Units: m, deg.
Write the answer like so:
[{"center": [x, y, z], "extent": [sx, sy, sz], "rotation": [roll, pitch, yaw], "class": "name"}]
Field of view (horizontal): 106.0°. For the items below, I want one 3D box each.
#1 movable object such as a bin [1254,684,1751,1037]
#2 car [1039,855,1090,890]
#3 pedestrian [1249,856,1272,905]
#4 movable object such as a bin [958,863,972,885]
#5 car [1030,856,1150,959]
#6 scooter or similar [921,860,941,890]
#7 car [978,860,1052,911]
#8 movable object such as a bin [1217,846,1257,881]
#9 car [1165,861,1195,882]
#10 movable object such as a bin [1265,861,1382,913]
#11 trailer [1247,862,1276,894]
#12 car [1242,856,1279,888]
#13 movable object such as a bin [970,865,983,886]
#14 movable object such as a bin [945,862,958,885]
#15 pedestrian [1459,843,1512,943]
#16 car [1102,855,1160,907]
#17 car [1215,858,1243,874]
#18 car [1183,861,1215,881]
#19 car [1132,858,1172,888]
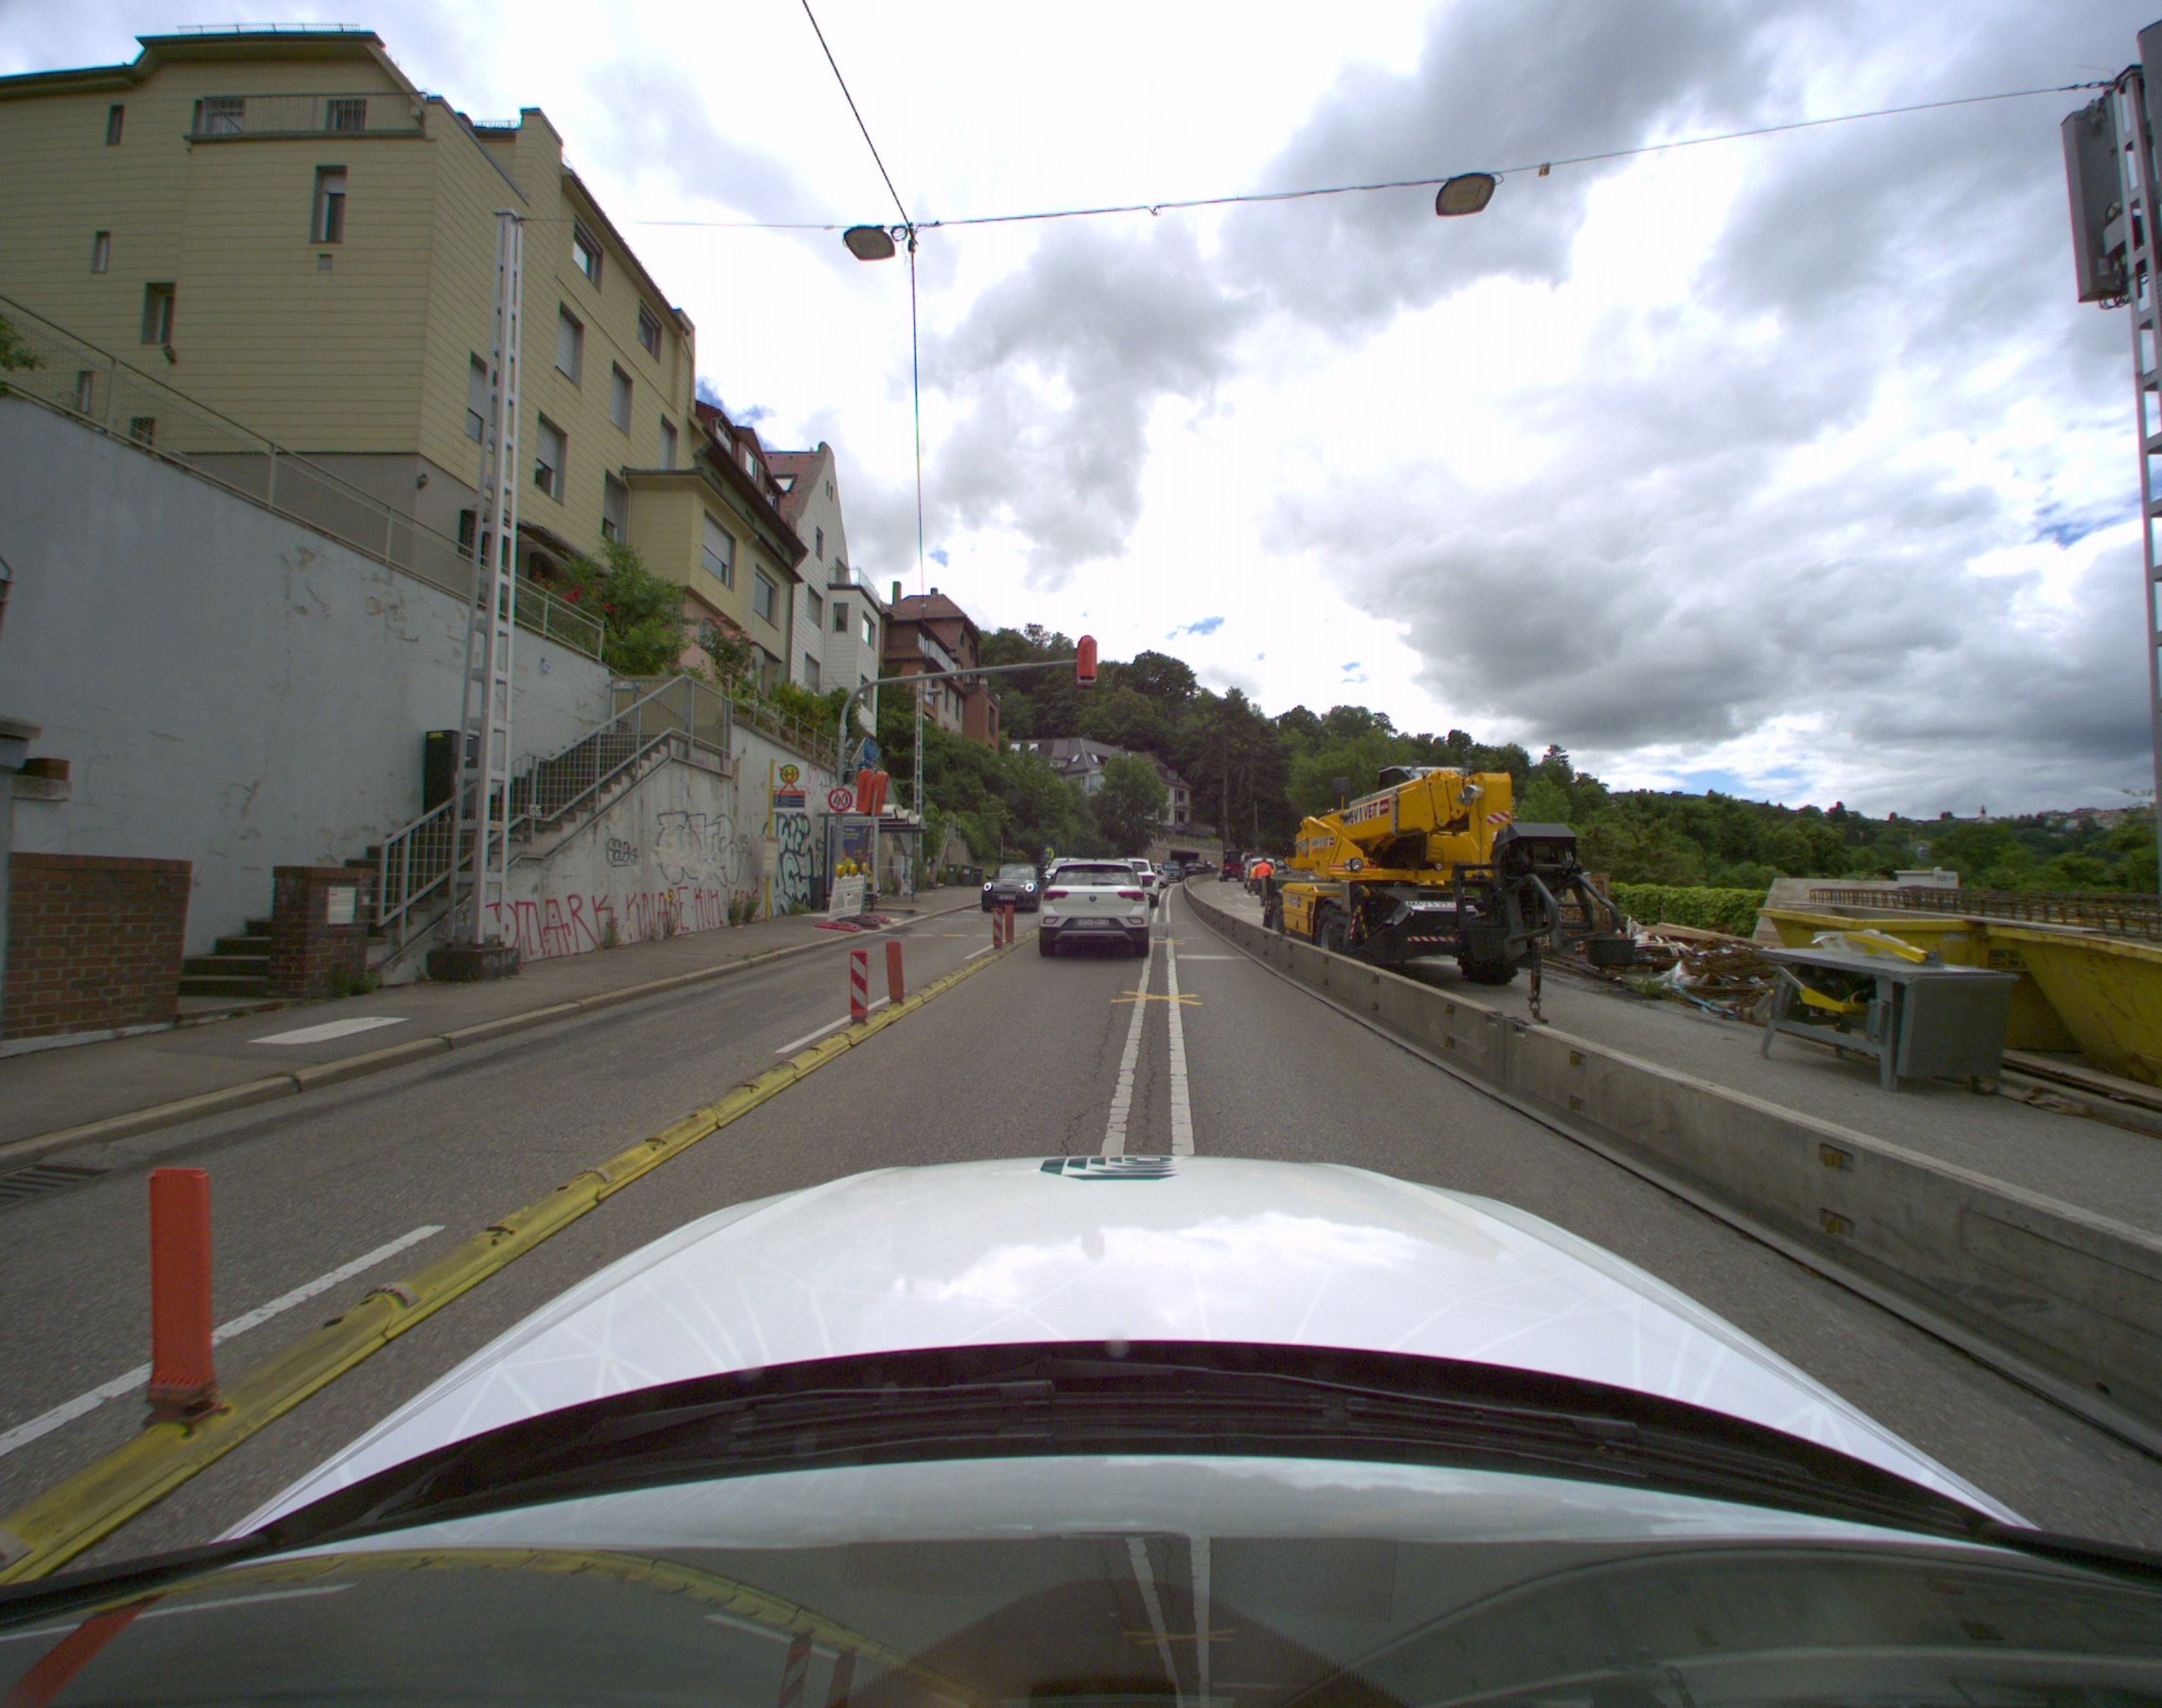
[{"center": [4.541, 0.077, 11.070], "extent": [2.802, 3.071, 7.823], "rotation": [1, 0, 1], "class": "movable object such as a bin"}, {"center": [-0.746, 0.874, 39.366], "extent": [1.832, 1.600, 4.272], "rotation": [0, 0, 7], "class": "car"}, {"center": [6.315, 0.926, 28.660], "extent": [0.642, 1.701, 0.851], "rotation": [1, 0, 5], "class": "pedestrian"}, {"center": [-5.548, 0.955, 38.921], "extent": [0.466, 1.053, 0.625], "rotation": [2, -1, 4], "class": "movable object such as a bin"}, {"center": [0.263, 0.826, 14.279], "extent": [1.802, 1.531, 4.003], "rotation": [0, -1, 3], "class": "car"}, {"center": [-6.218, 0.842, 33.701], "extent": [0.457, 1.205, 1.436], "rotation": [2, 0, 2], "class": "scooter or similar"}, {"center": [-1.975, 0.931, 25.298], "extent": [1.663, 1.430, 3.592], "rotation": [0, -1, 5], "class": "car"}, {"center": [12.447, 0.738, 64.552], "extent": [2.192, 2.663, 4.970], "rotation": [0, 0, 22], "class": "movable object such as a bin"}, {"center": [7.464, 1.300, 61.132], "extent": [1.782, 1.510, 4.013], "rotation": [-1, -1, 12], "class": "car"}, {"center": [8.299, 1.065, 28.738], "extent": [2.364, 1.561, 7.104], "rotation": [1, -1, 3], "class": "movable object such as a bin"}, {"center": [8.808, 1.154, 39.890], "extent": [1.280, 1.475, 3.645], "rotation": [0, 0, 11], "class": "trailer"}, {"center": [10.457, 1.043, 47.678], "extent": [1.822, 1.779, 4.279], "rotation": [0, 0, 9], "class": "car"}, {"center": [-5.000, 1.026, 38.874], "extent": [0.466, 0.934, 0.625], "rotation": [2, -1, 4], "class": "movable object such as a bin"}, {"center": [-6.188, 0.934, 38.973], "extent": [0.466, 1.053, 0.625], "rotation": [2, -1, 4], "class": "movable object such as a bin"}, {"center": [7.394, 0.705, 14.909], "extent": [0.688, 1.795, 0.538], "rotation": [0, 0, -8], "class": "pedestrian"}, {"center": [1.805, 0.896, 28.432], "extent": [1.801, 1.663, 4.006], "rotation": [-1, -1, 6], "class": "car"}, {"center": [16.077, 1.239, 88.390], "extent": [1.792, 1.663, 4.024], "rotation": [-1, -1, 28], "class": "car"}, {"center": [10.454, 1.453, 71.849], "extent": [1.793, 1.663, 4.022], "rotation": [-1, -1, 23], "class": "car"}, {"center": [4.270, 1.093, 48.477], "extent": [1.797, 1.663, 4.013], "rotation": [-1, -1, 12], "class": "car"}]
